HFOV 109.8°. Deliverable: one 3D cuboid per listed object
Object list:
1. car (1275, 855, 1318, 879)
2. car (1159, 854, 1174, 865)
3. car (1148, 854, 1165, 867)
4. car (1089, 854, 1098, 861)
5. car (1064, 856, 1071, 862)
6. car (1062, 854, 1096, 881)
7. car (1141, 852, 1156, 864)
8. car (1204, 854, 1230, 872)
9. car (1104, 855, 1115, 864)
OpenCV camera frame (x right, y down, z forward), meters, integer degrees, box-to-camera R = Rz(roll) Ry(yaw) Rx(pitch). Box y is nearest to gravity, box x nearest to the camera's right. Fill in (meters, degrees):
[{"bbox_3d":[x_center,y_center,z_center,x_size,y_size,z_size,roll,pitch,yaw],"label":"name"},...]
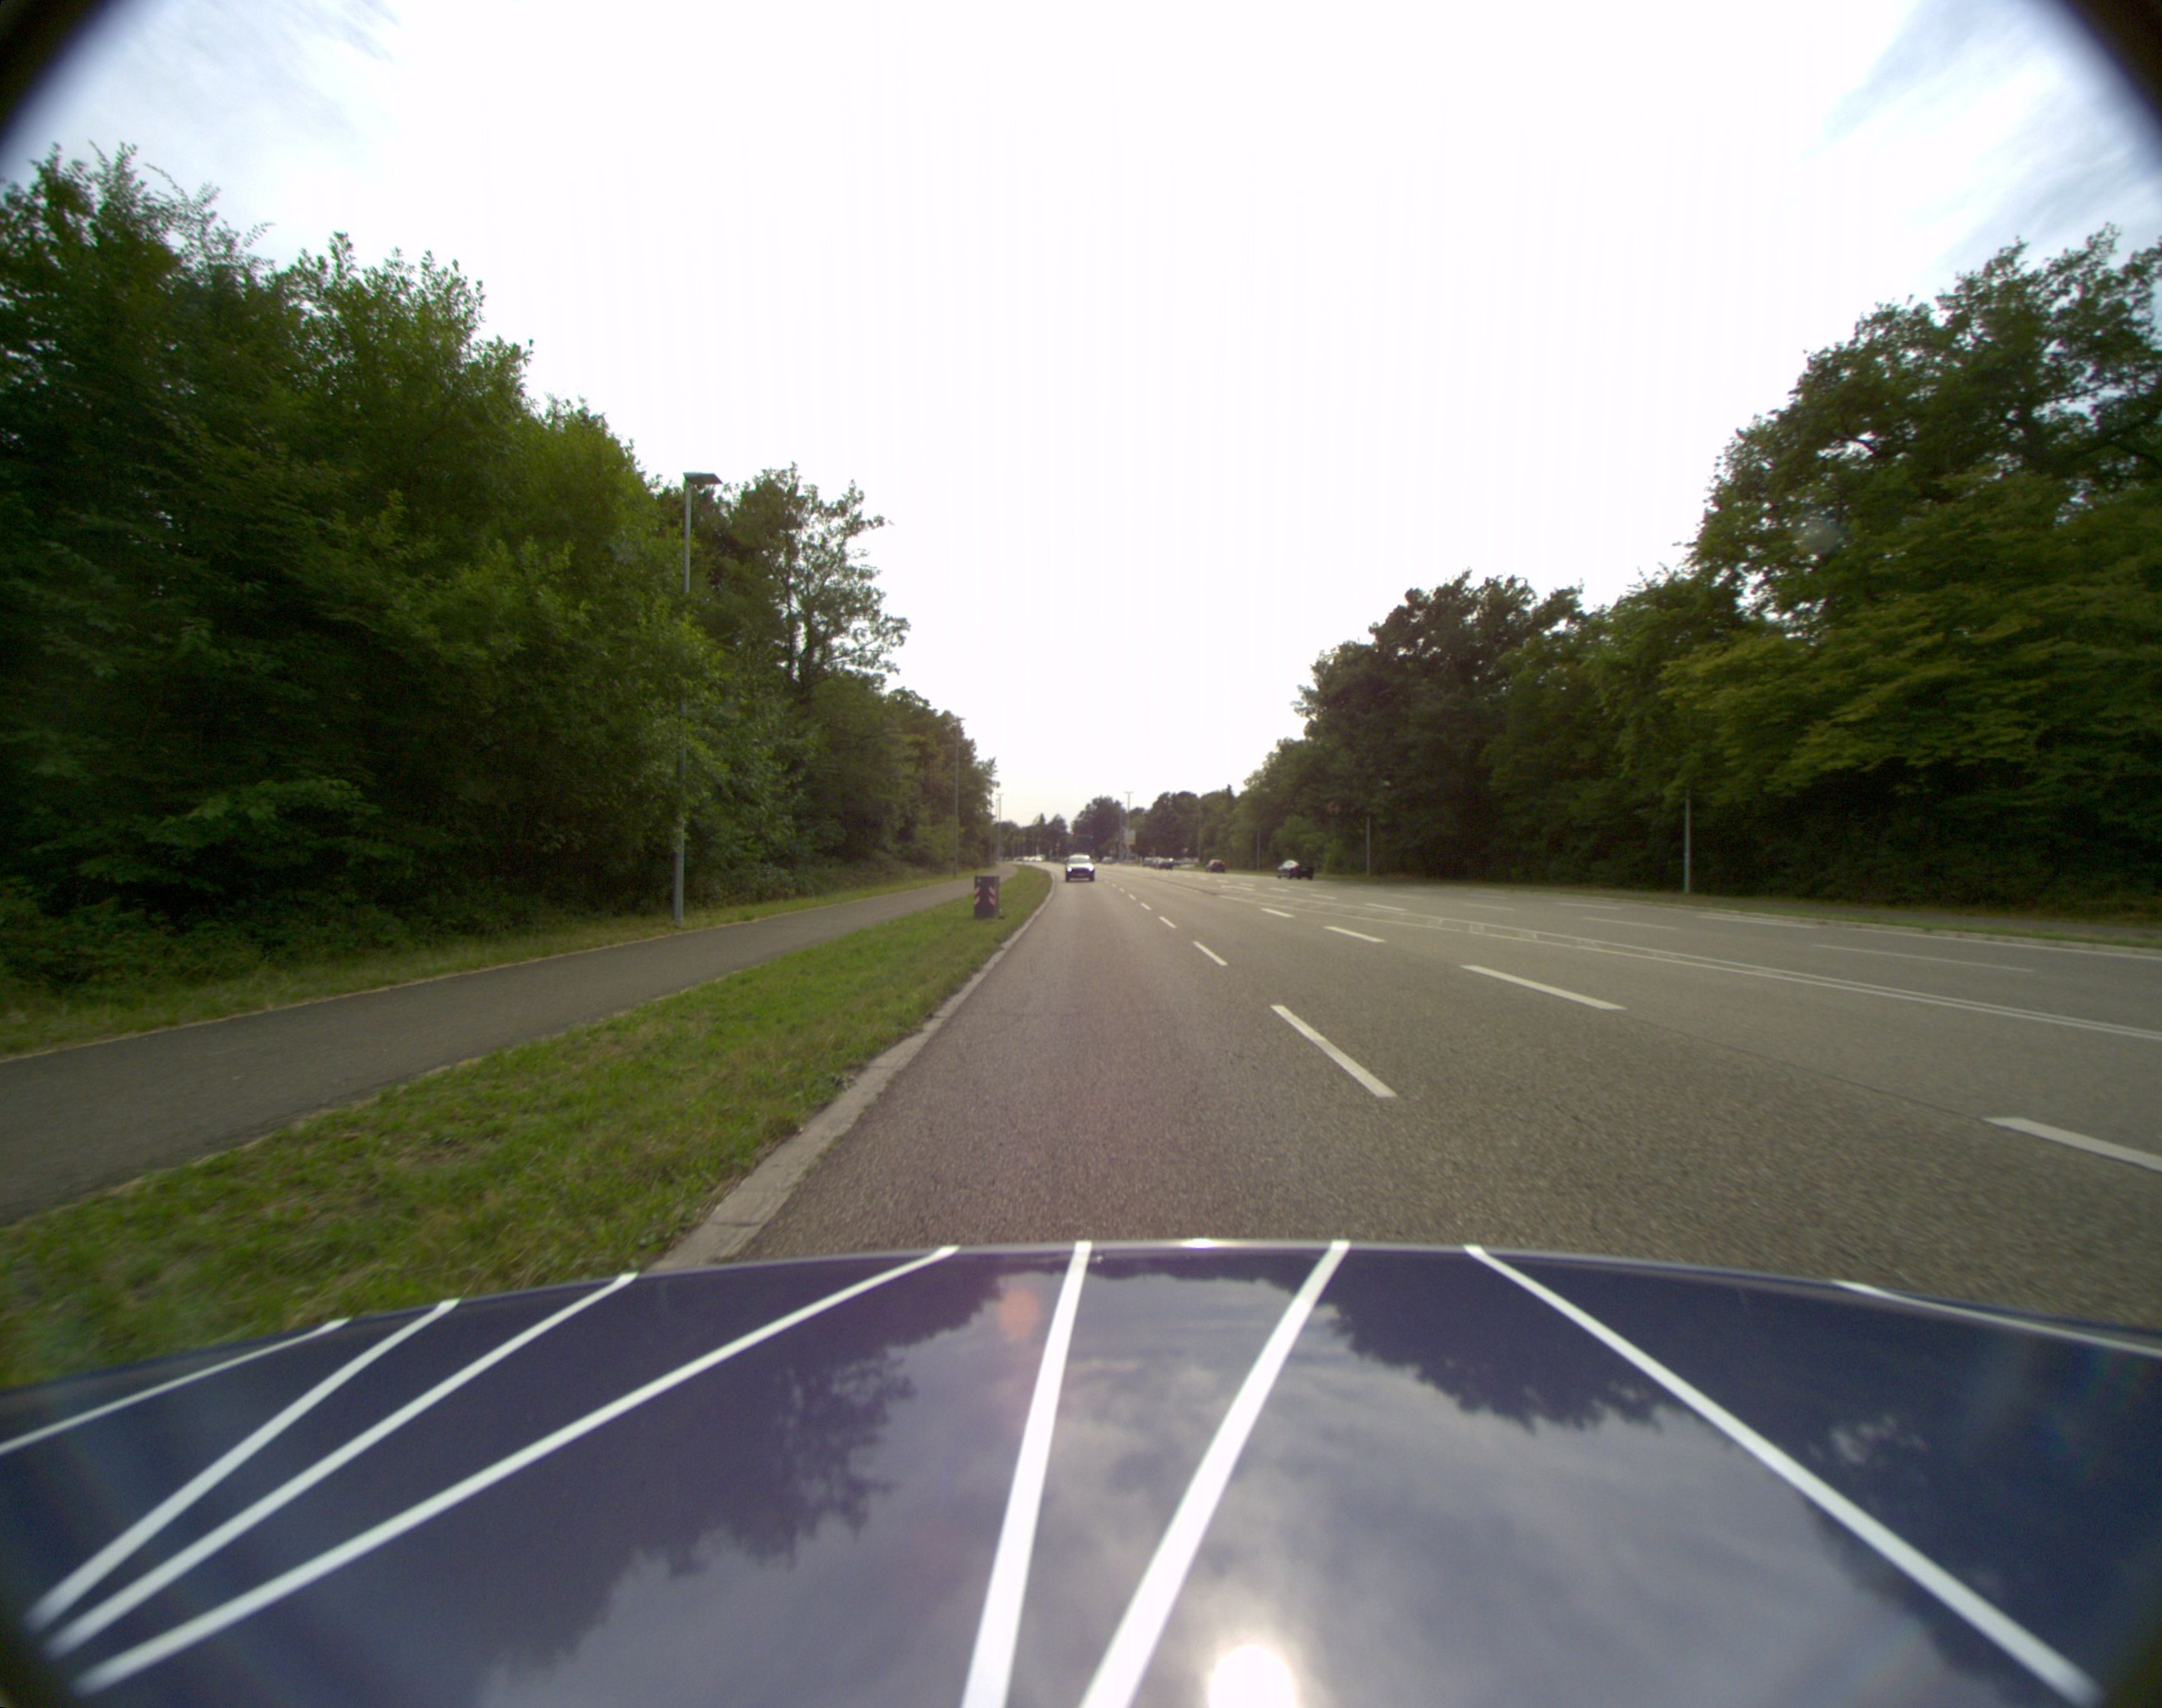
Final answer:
[{"bbox_3d":[15.998,0.964,56.662,1.999,1.585,3.999,-2,1,-1],"label":"car"},{"bbox_3d":[11.317,0.737,100.929,1.400,1.263,3.778,-2,1,-2],"label":"car"},{"bbox_3d":[12.090,1.013,121.892,1.999,1.871,3.999,-2,1,-2],"label":"car"},{"bbox_3d":[2.923,0.881,180.100,1.999,1.718,3.999,0,0,-3],"label":"car"},{"bbox_3d":[-3.568,1.254,194.633,1.702,1.368,3.999,0,0,-2],"label":"car"},{"bbox_3d":[-0.162,0.832,49.406,1.999,1.565,3.998,-2,1,-3],"label":"car"},{"bbox_3d":[12.062,0.746,135.368,1.999,2.002,3.998,-2,1,-3],"label":"car"},{"bbox_3d":[14.992,0.943,84.127,1.999,1.871,3.999,-2,1,-2],"label":"car"},{"bbox_3d":[5.773,1.146,153.790,1.999,1.718,3.999,0,0,-3],"label":"car"}]
